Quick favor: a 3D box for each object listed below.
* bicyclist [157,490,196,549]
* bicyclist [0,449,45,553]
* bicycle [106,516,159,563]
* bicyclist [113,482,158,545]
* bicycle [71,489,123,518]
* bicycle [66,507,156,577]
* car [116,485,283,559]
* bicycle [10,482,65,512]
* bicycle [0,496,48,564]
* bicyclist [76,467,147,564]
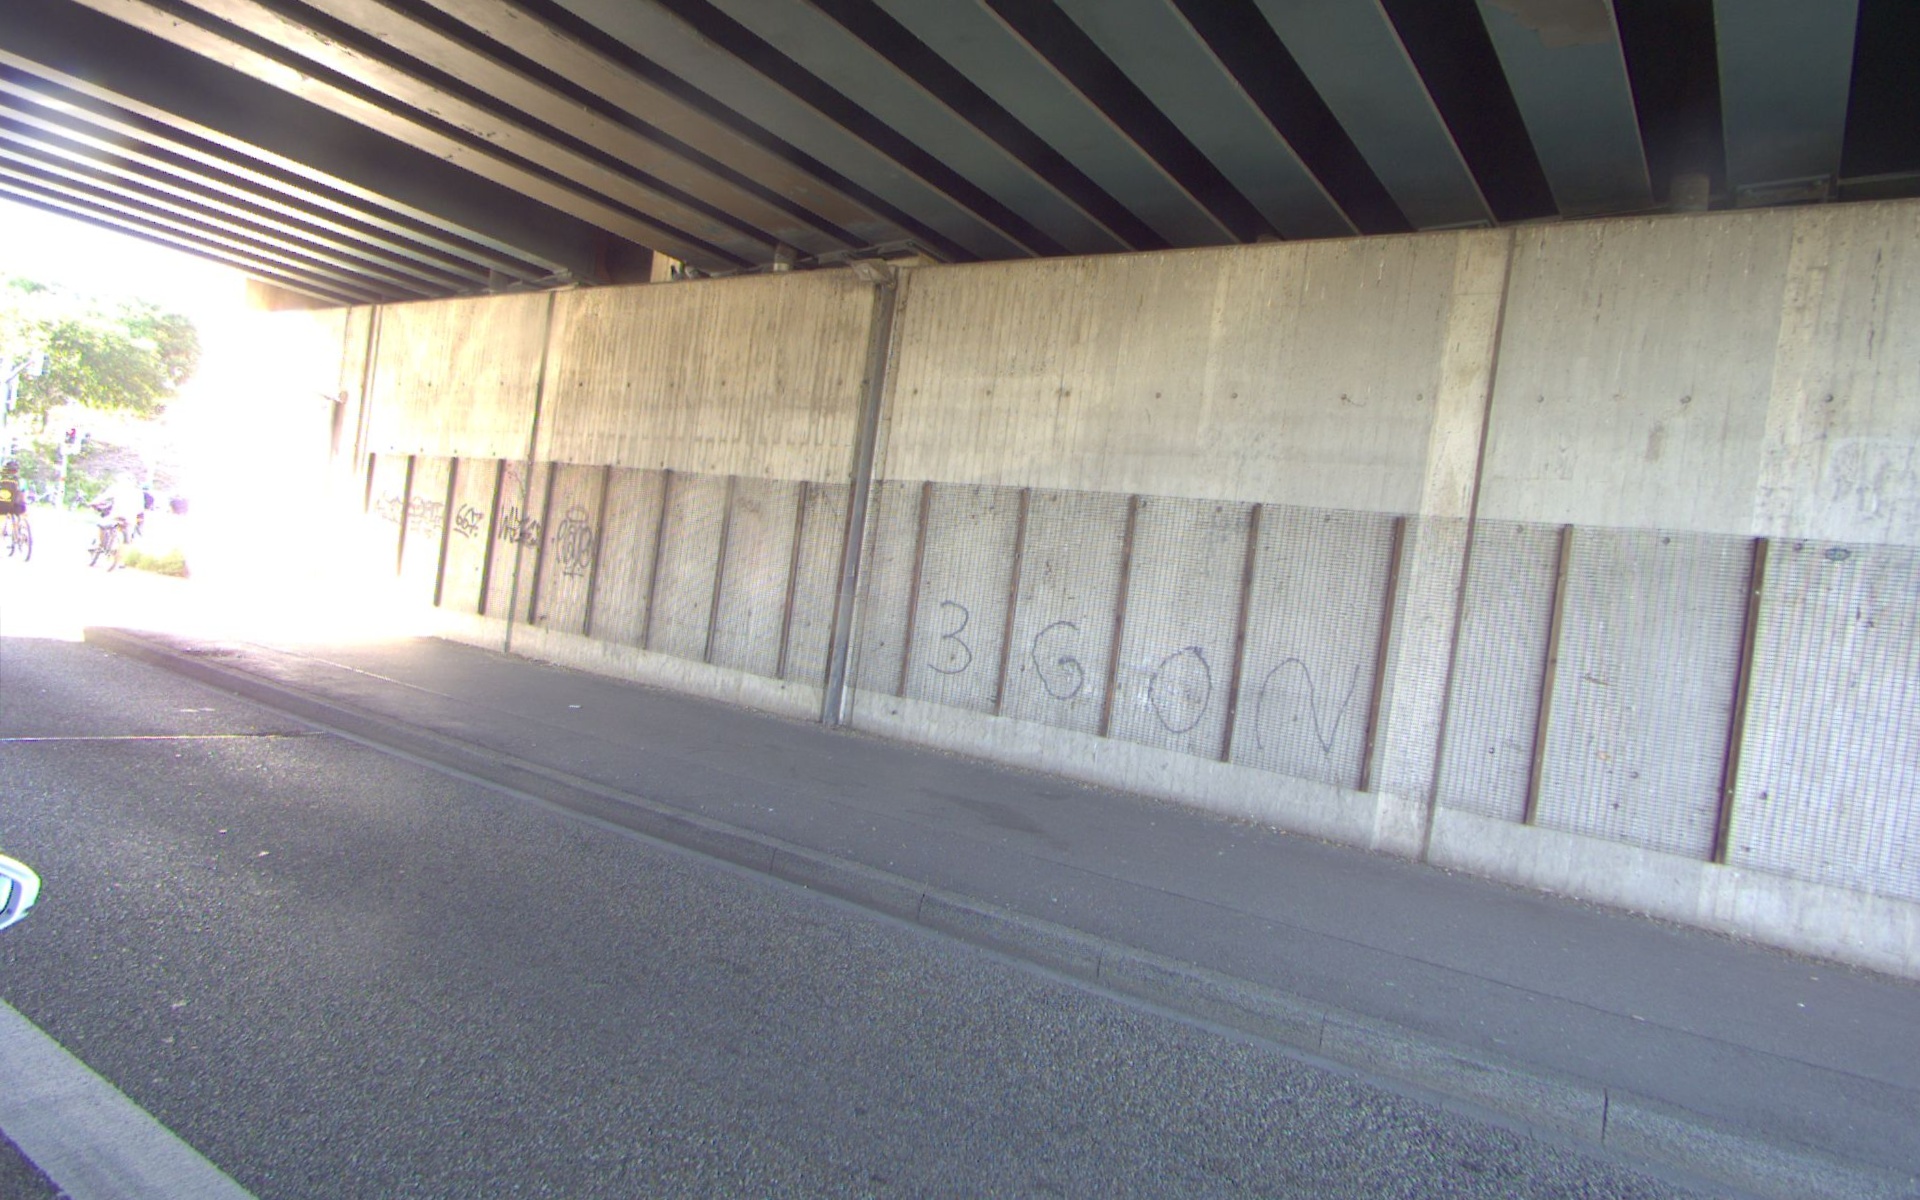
[{"bbox_3d":[-21.696,-2.225,27.852,0.647,1.499,0.610,8,0,-43],"label":"bicyclist"},{"bbox_3d":[-16.136,-1.685,17.015,0.927,1.632,0.593,6,-1,32],"label":"bicyclist"},{"bbox_3d":[-21.371,-1.572,25.965,2.027,1.035,0.671,6,-2,42],"label":"bicycle"},{"bbox_3d":[-21.315,-2.227,25.995,0.741,1.491,0.664,6,-1,42],"label":"bicyclist"},{"bbox_3d":[-41.069,-4.588,47.899,0.586,1.035,1.743,6,-2,43],"label":"bicycle"},{"bbox_3d":[-14.722,-1.009,17.431,1.721,1.035,0.593,6,-1,32],"label":"bicycle"},{"bbox_3d":[-24.579,-2.475,32.700,1.692,1.727,3.984,7,-1,16],"label":"car"},{"bbox_3d":[-42.881,-4.791,46.782,0.585,1.035,1.744,6,-2,40],"label":"bicycle"},{"bbox_3d":[-16.200,-1.221,17.032,1.721,1.035,0.593,6,-1,32],"label":"bicycle"},{"bbox_3d":[-14.688,-1.460,17.417,0.756,1.566,0.593,6,-1,32],"label":"bicyclist"}]
